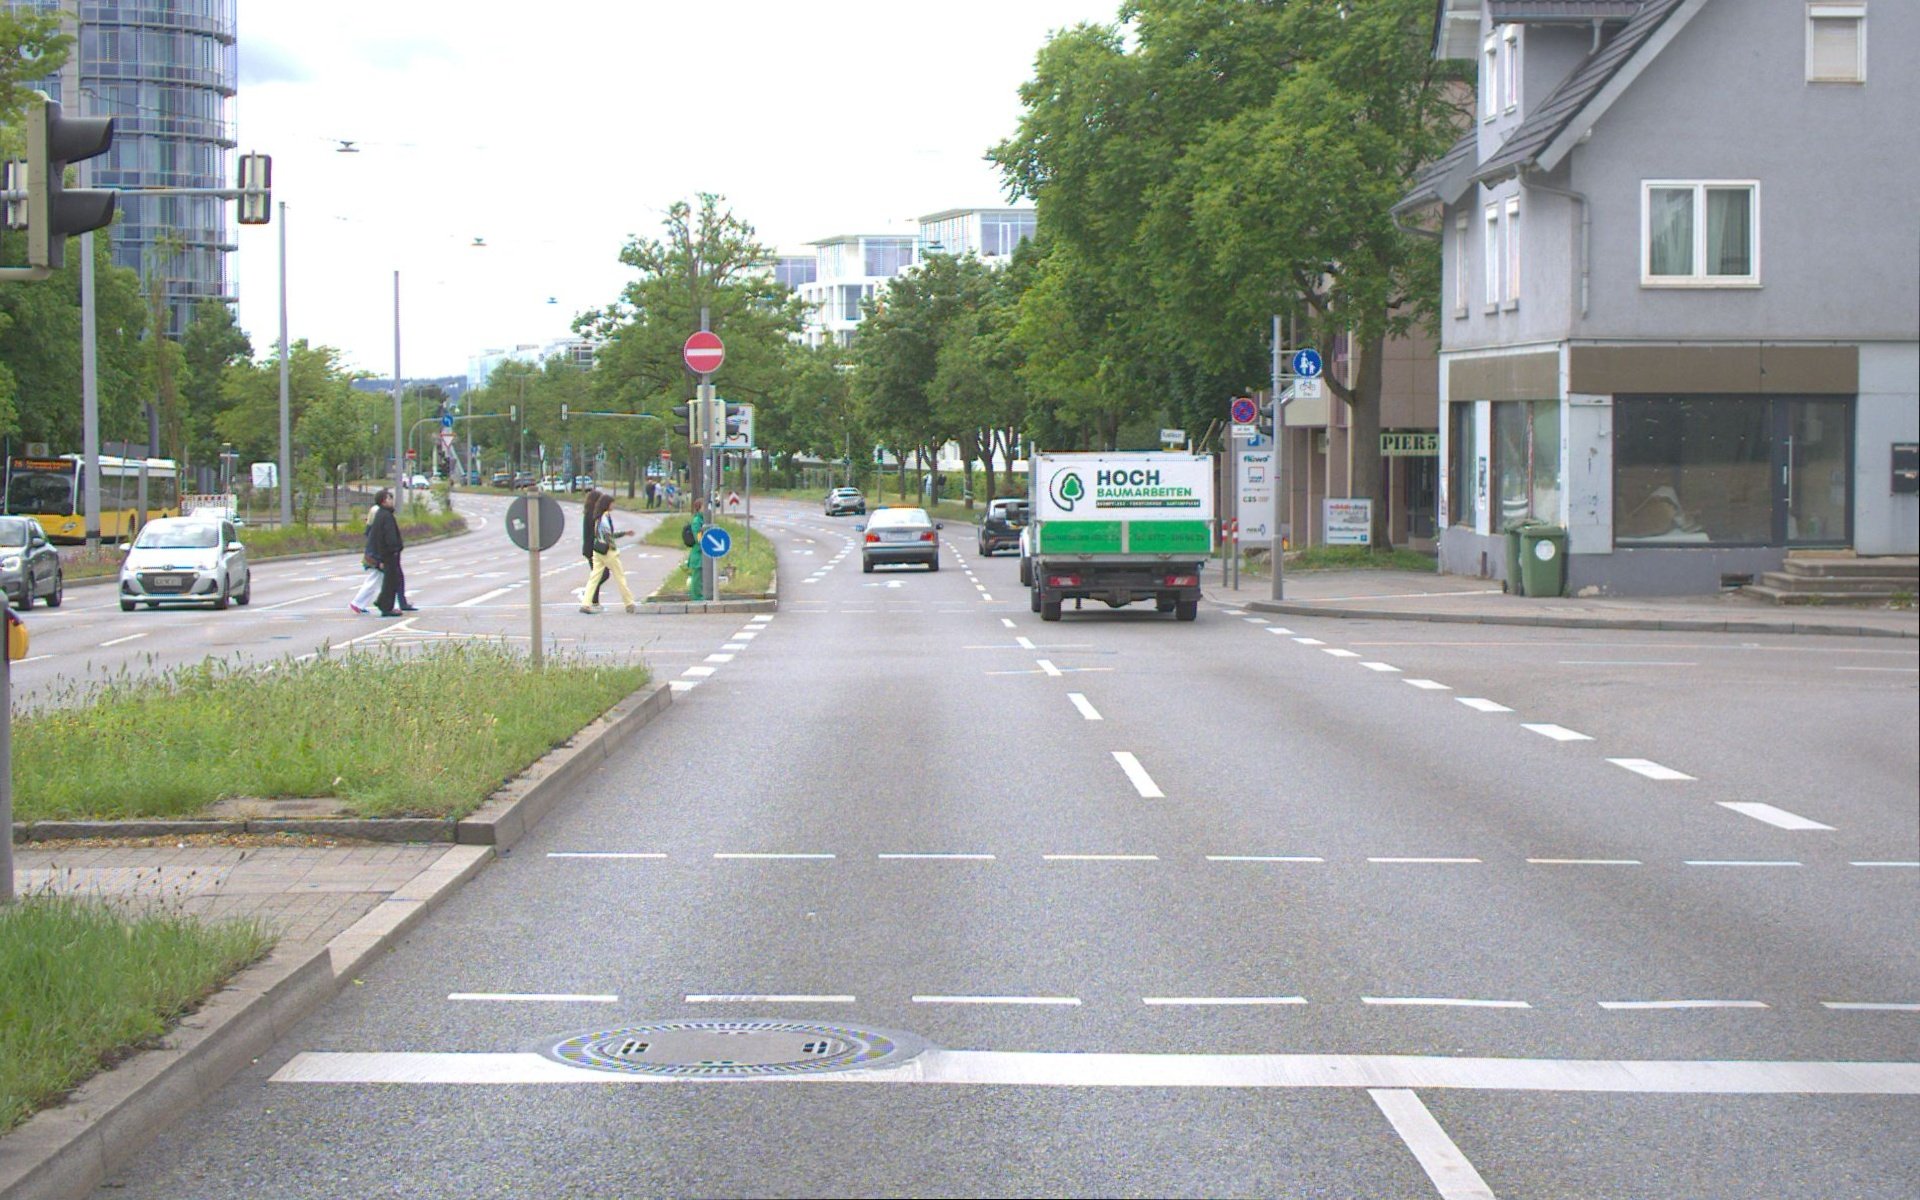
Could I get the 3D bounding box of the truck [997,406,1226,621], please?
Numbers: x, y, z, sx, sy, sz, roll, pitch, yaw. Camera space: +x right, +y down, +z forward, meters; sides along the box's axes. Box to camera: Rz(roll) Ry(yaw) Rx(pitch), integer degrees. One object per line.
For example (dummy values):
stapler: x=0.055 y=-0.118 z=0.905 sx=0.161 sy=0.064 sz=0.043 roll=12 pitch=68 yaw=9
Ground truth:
truck: x=1.908 y=-1.220 z=45.728 sx=2.470 sy=2.602 sz=6.549 roll=1 pitch=3 yaw=-2

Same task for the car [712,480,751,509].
car: x=-12.019 y=-5.562 z=180.918 sx=1.993 sy=1.514 sz=4.001 roll=0 pitch=2 yaw=-4

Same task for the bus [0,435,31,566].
bus: x=-26.789 y=-2.526 z=87.280 sx=2.832 sy=3.419 sz=10.732 roll=0 pitch=1 yaw=4

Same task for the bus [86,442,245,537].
bus: x=-29.834 y=-4.137 z=129.610 sx=2.832 sy=3.419 sz=10.732 roll=0 pitch=1 yaw=4

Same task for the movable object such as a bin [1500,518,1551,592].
movable object such as a bin: x=8.108 y=-0.647 z=49.290 sx=0.616 sy=1.039 sz=0.589 roll=1 pitch=1 yaw=1

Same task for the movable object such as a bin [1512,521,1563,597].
movable object such as a bin: x=8.152 y=-0.584 z=48.542 sx=0.604 sy=1.056 sz=0.589 roll=1 pitch=1 yaw=1

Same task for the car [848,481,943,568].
car: x=-1.380 y=-1.665 z=74.620 sx=1.993 sy=1.824 sz=4.001 roll=0 pitch=2 yaw=-1

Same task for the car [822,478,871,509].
car: x=-5.886 y=-5.502 z=178.114 sx=1.993 sy=1.546 sz=4.001 roll=-1 pitch=2 yaw=-9

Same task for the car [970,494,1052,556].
car: x=1.289 y=-1.952 z=88.871 sx=1.993 sy=1.546 sz=4.000 roll=1 pitch=2 yaw=-1

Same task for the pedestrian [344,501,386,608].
pedestrian: x=-8.366 y=-0.645 z=48.354 sx=0.543 sy=1.490 sz=0.487 roll=-1 pitch=1 yaw=-8

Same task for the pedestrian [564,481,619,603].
pedestrian: x=-5.207 y=-0.827 z=48.584 sx=0.745 sy=1.710 sz=0.583 roll=-1 pitch=1 yaw=-7

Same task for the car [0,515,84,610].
car: x=-15.748 y=-0.629 z=56.068 sx=1.993 sy=1.481 sz=4.001 roll=0 pitch=1 yaw=-2

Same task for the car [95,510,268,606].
car: x=-12.561 y=-0.705 z=55.676 sx=1.993 sy=1.481 sz=4.001 roll=0 pitch=1 yaw=-2

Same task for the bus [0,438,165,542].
bus: x=-30.495 y=-3.764 z=118.877 sx=2.832 sy=3.419 sz=10.732 roll=0 pitch=1 yaw=4

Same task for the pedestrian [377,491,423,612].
pedestrian: x=-8.004 y=-0.699 z=49.133 sx=0.612 sy=1.710 sz=0.546 roll=-1 pitch=1 yaw=-7

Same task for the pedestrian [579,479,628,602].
pedestrian: x=-4.975 y=-0.832 z=47.998 sx=0.653 sy=1.710 sz=0.452 roll=-1 pitch=1 yaw=-7

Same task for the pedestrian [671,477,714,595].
pedestrian: x=-3.883 y=-0.935 z=49.974 sx=0.583 sy=1.710 sz=0.546 roll=-1 pitch=1 yaw=-7

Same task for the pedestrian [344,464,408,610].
pedestrian: x=-8.075 y=-0.870 z=47.568 sx=0.829 sy=2.007 sz=0.546 roll=-1 pitch=1 yaw=-7
